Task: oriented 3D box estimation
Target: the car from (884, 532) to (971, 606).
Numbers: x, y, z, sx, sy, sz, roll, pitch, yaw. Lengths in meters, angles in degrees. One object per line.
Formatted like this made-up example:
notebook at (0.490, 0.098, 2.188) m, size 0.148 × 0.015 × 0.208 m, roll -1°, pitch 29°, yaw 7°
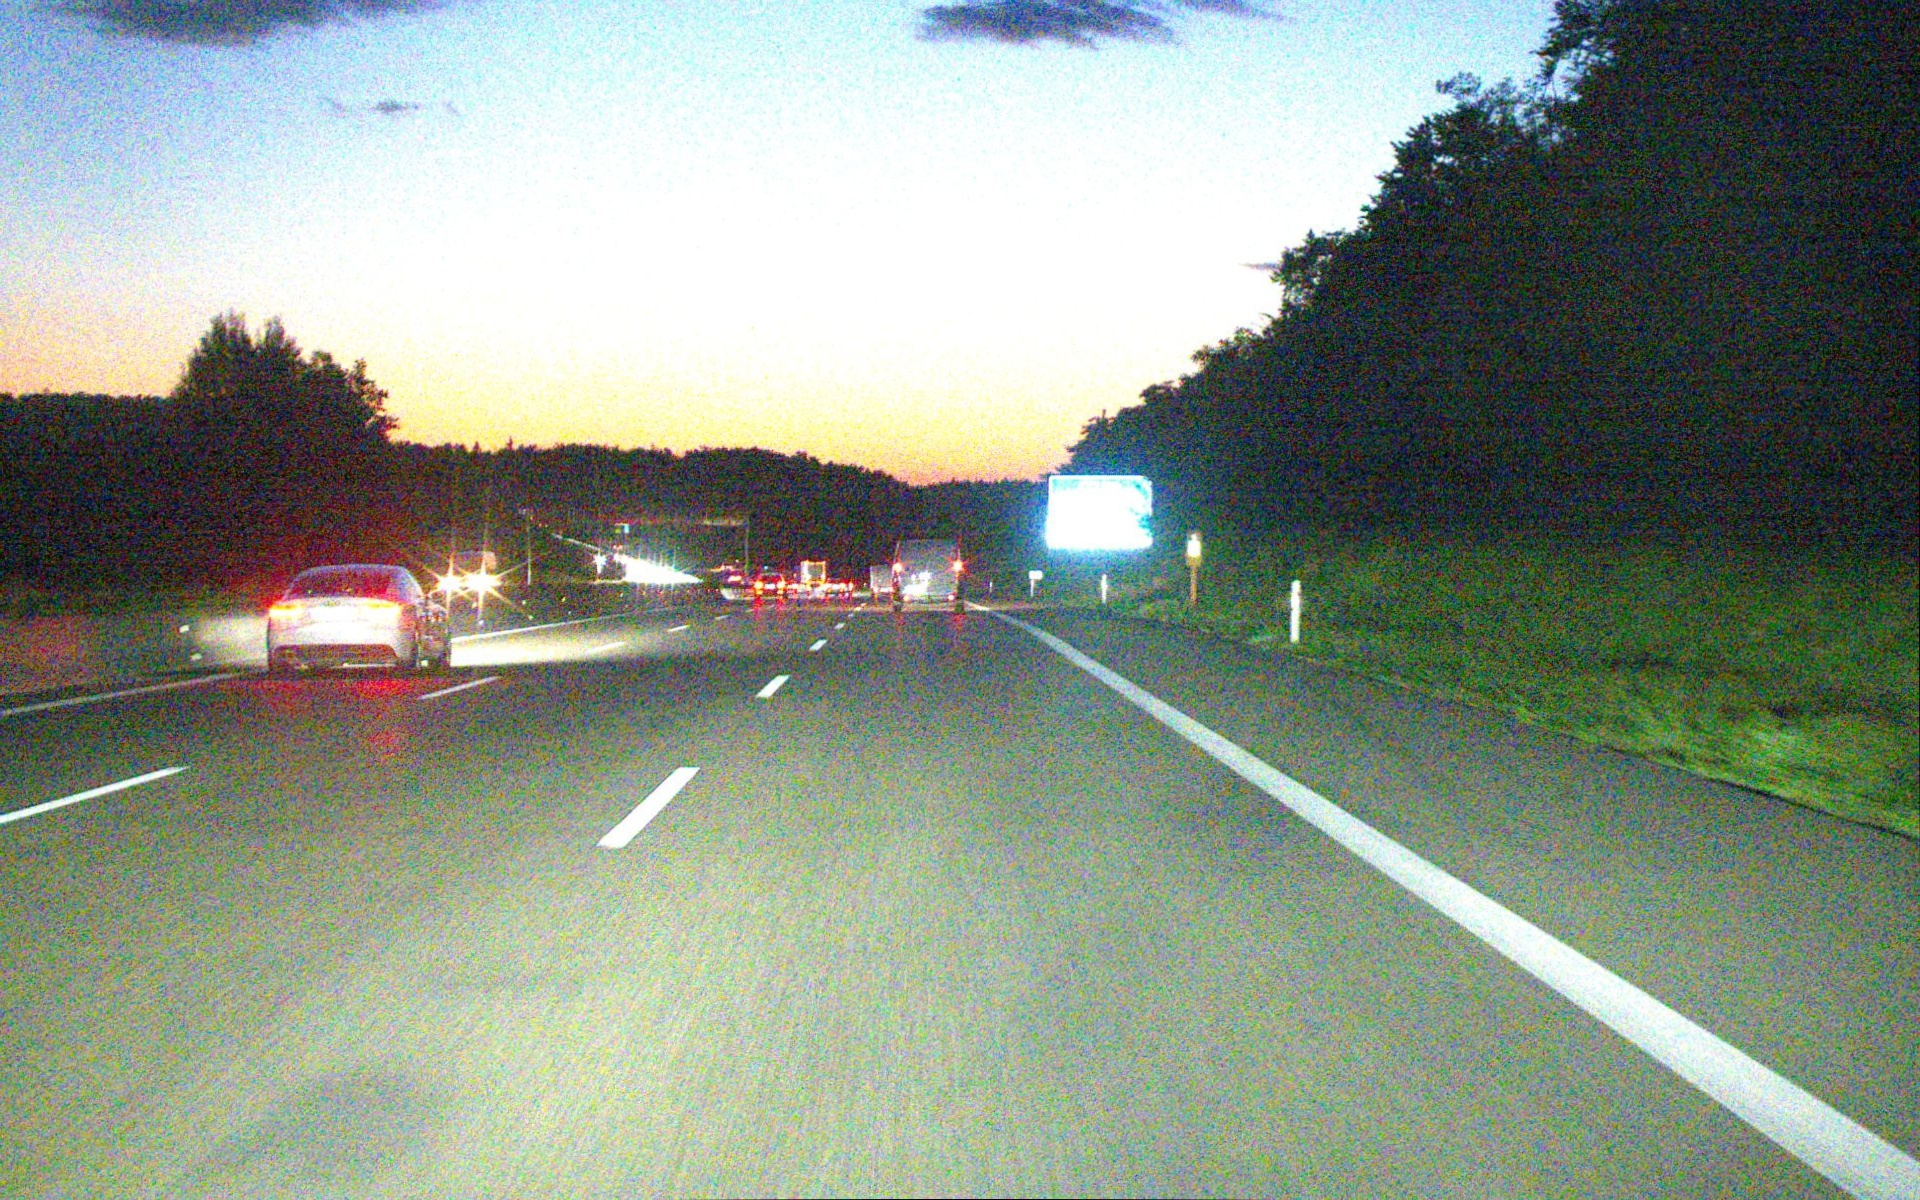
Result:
car at (-0.862, -0.891, 95.512) m, size 2.197 × 1.948 × 4.763 m, roll -2°, pitch 1°, yaw 1°

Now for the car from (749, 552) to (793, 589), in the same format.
car at (-10.561, -1.659, 192.744) m, size 2.196 × 1.949 × 4.634 m, roll 2°, pitch 1°, yaw 0°

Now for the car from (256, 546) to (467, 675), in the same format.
car at (-7.534, 0.084, 43.741) m, size 1.779 × 1.482 × 5.254 m, roll 2°, pitch 1°, yaw 0°

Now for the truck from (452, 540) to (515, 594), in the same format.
truck at (-24.923, -1.752, 179.959) m, size 2.196 × 2.716 × 7.624 m, roll 2°, pitch 1°, yaw 0°
